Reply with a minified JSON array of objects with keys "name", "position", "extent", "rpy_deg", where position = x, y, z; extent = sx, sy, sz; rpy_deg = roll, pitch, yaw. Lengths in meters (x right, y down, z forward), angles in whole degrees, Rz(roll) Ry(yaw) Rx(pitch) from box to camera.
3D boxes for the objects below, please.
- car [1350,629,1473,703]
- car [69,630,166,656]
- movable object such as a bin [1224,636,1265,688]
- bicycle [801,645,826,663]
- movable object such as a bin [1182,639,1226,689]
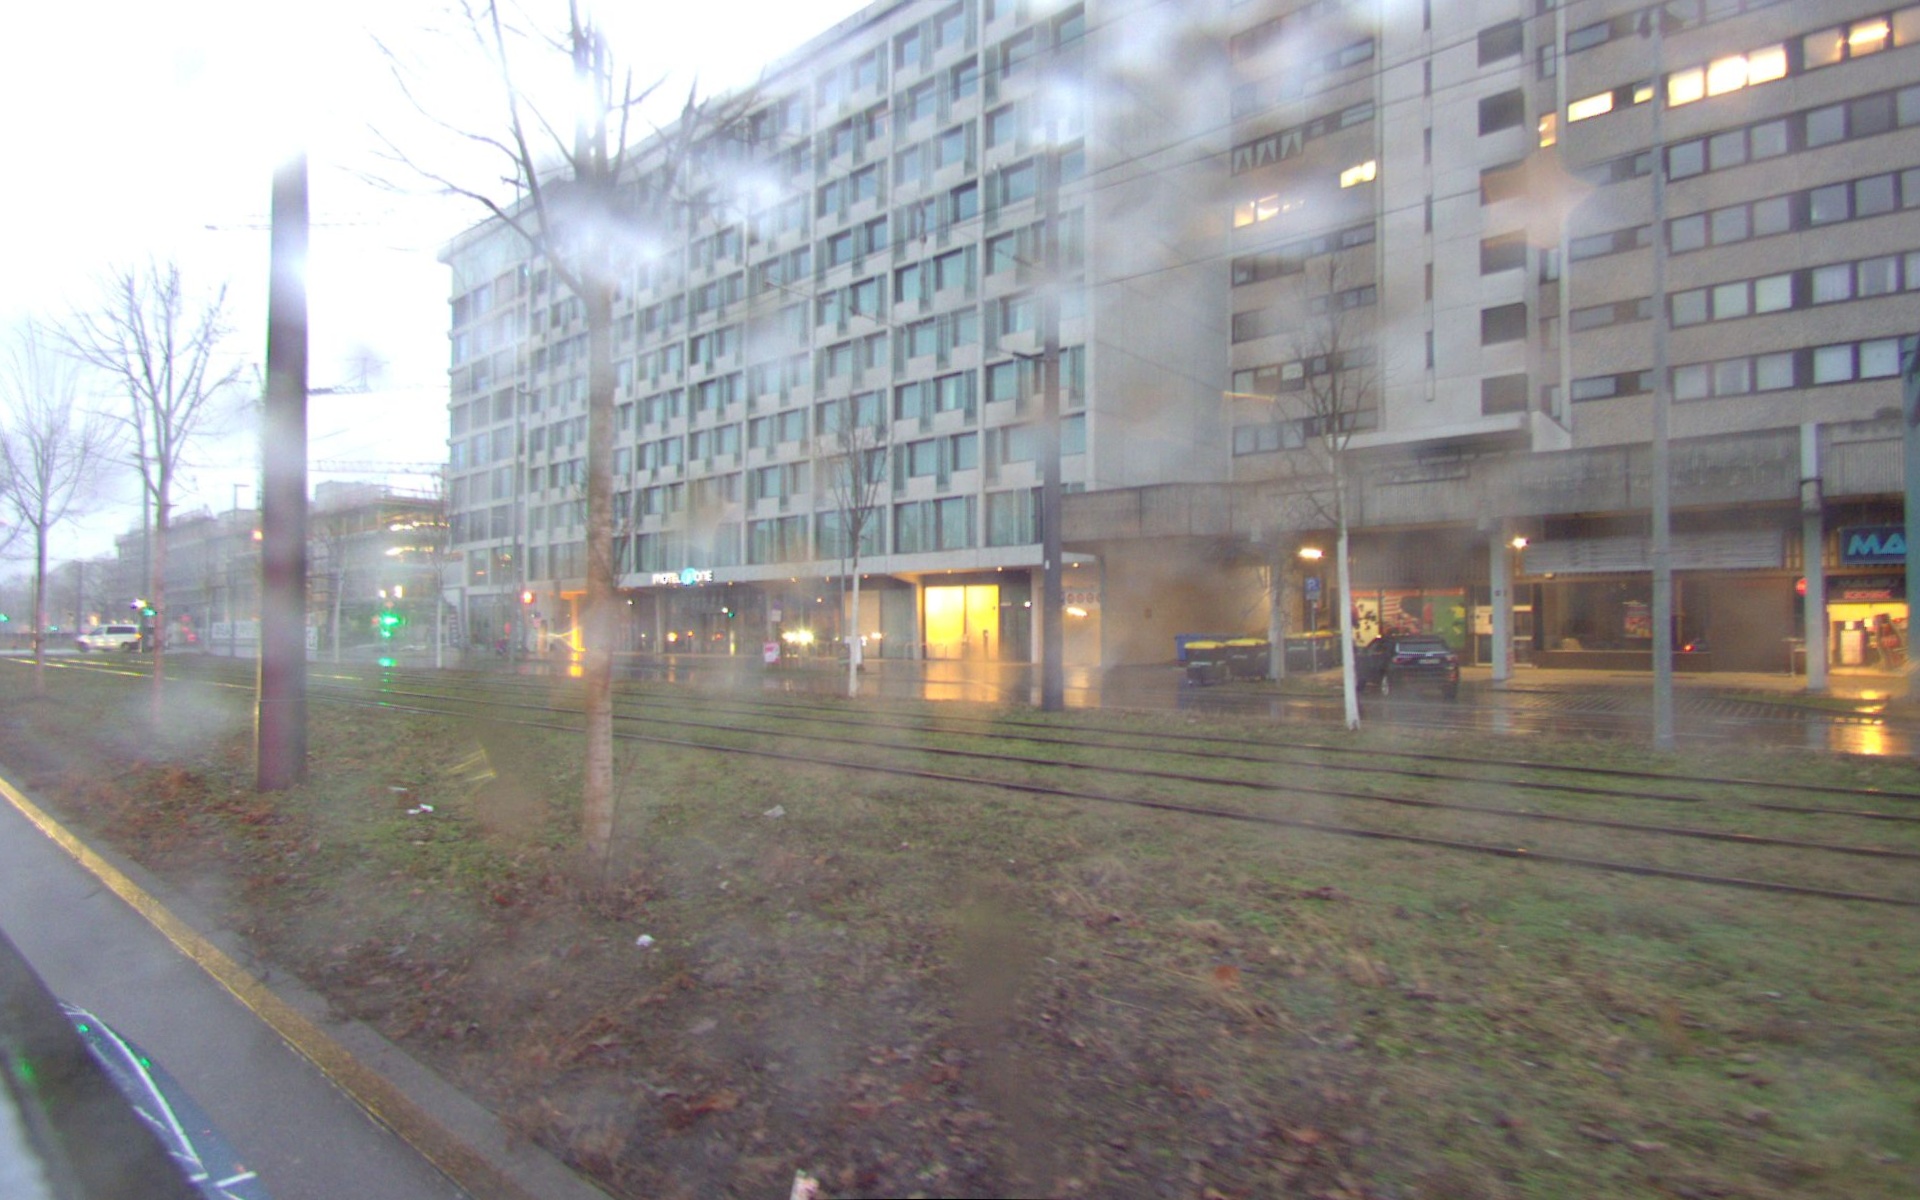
[{"name":"car","position":[12.117,1.721,27.459],"extent":[1.962,1.706,4.131],"rpy_deg":[-1,0,9]},{"name":"car","position":[-57.112,2.906,68.669],"extent":[4.976,1.682,2.086],"rpy_deg":[0,-2,3]},{"name":"movable object such as a bin","position":[8.839,1.909,31.423],"extent":[1.008,1.512,1.042],"rpy_deg":[-1,0,30]},{"name":"bicycle","position":[-7.675,2.806,53.065],"extent":[0.465,0.860,1.332],"rpy_deg":[-1,0,39]},{"name":"movable object such as a bin","position":[7.462,1.939,30.930],"extent":[1.027,1.437,1.063],"rpy_deg":[-1,0,30]}]
